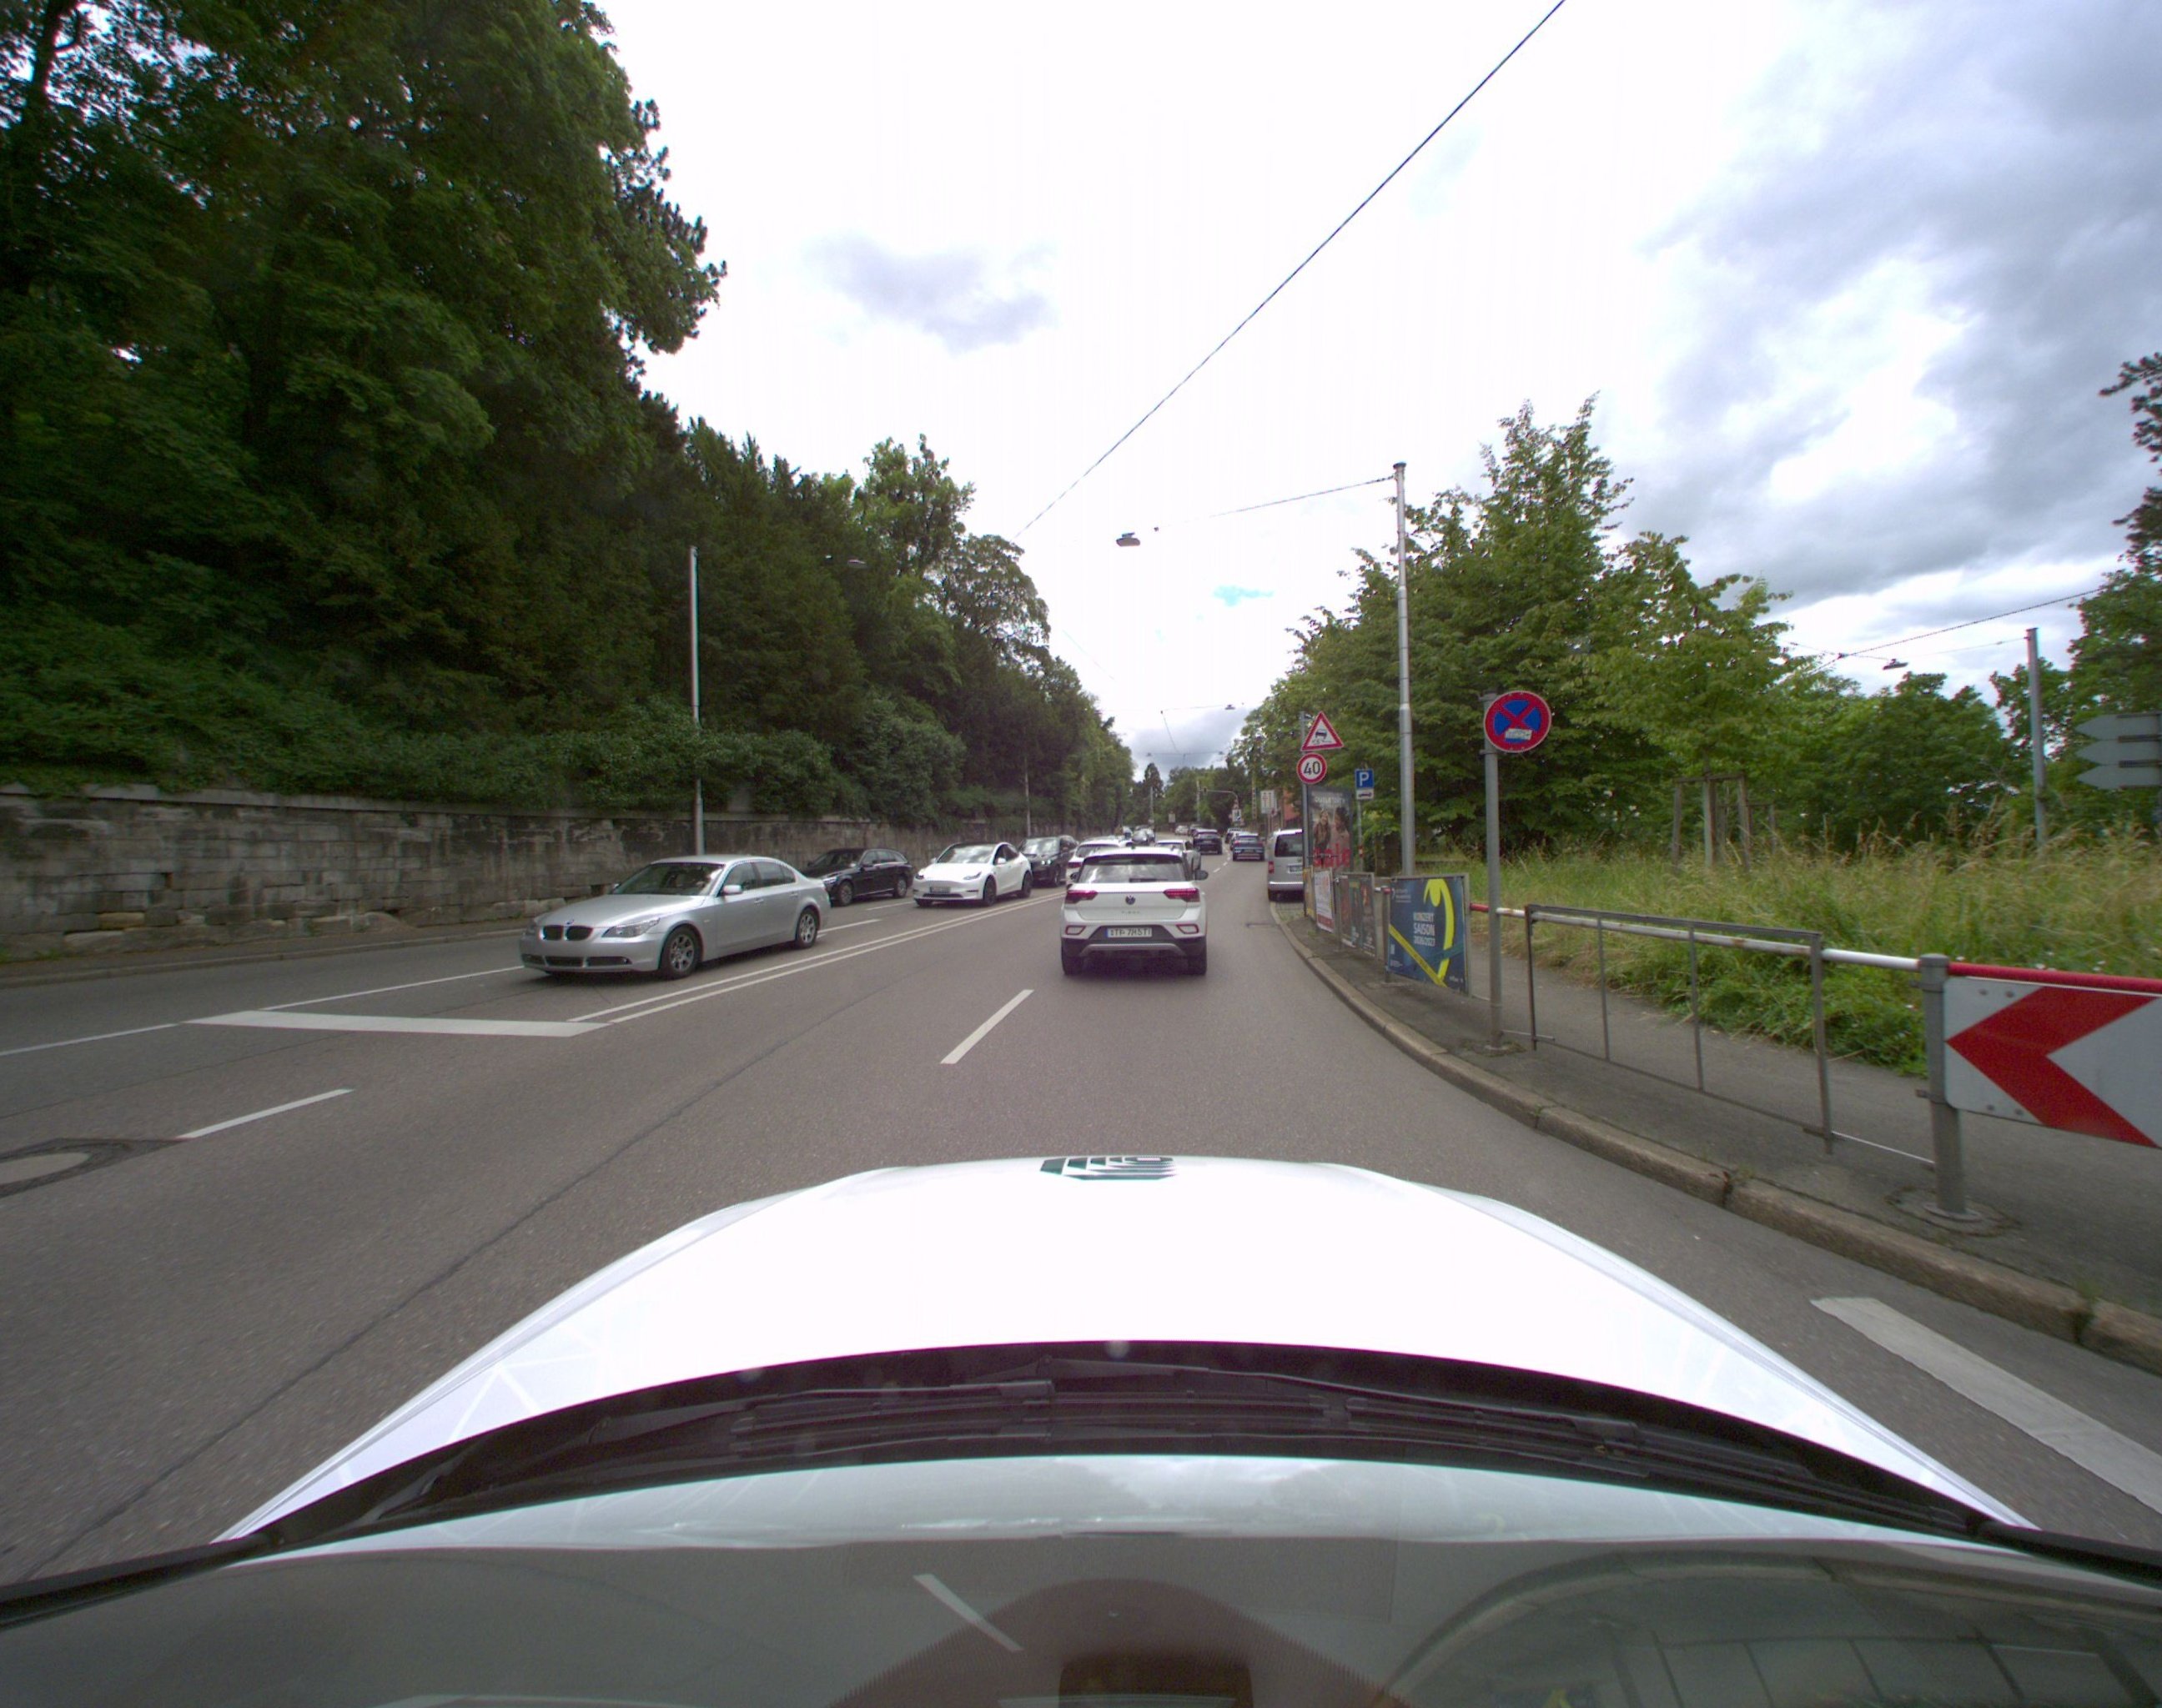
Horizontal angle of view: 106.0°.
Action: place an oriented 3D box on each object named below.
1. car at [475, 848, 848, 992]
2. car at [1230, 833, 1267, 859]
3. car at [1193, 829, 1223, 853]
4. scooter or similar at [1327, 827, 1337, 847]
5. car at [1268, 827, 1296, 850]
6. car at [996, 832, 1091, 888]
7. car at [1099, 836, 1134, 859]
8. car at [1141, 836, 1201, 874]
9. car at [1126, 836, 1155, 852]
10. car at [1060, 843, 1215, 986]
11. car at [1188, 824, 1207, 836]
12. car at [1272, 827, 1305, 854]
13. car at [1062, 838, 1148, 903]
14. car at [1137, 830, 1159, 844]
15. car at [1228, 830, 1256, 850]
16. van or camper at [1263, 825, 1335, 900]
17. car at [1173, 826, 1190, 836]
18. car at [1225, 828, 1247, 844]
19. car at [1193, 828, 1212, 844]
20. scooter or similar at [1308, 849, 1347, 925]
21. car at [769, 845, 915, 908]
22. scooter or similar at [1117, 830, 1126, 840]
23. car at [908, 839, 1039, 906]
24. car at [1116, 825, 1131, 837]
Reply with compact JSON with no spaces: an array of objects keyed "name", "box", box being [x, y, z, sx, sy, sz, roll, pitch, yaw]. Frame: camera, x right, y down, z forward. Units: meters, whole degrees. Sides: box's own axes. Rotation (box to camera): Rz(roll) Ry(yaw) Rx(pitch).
[{"name":"car","box":[-5.371,0.724,11.414,1.981,1.469,4.893,-2,1,11]},{"name":"car","box":[9.659,-0.479,47.048,1.980,1.414,4.164,-1,1,11]},{"name":"car","box":[8.739,-0.901,55.756,1.981,1.556,4.163,0,2,10]},{"name":"scooter or similar","box":[16.902,-1.156,54.883,0.513,1.260,1.173,-4,1,14]},{"name":"car","box":[14.309,-1.119,58.122,1.665,1.461,4.379,-3,2,11]},{"name":"car","box":[-1.214,0.146,29.124,1.945,1.749,4.898,-2,1,15]},{"name":"car","box":[2.562,-0.508,58.305,1.948,1.547,3.760,-2,1,10]},{"name":"car","box":[3.915,0.003,34.816,1.979,1.489,4.167,-1,1,14]},{"name":"car","box":[5.705,-0.934,77.521,1.988,1.409,4.773,-1,1,14]},{"name":"car","box":[0.804,0.663,11.134,1.749,1.555,3.801,1,1,5]},{"name":"car","box":[16.244,-3.354,113.729,1.987,1.575,4.150,-1,1,0]},{"name":"car","box":[13.377,-0.911,52.691,1.704,1.471,4.050,-5,2,10]},{"name":"car","box":[0.760,0.387,22.620,1.746,1.609,3.808,1,1,12]},{"name":"car","box":[7.425,-1.874,90.009,1.830,1.436,4.013,-2,2,11]},{"name":"car","box":[12.302,-1.099,62.258,1.981,1.450,4.163,-1,1,10]},{"name":"van or camper","box":[5.988,0.174,22.216,1.685,1.845,4.261,-1,1,17]},{"name":"car","box":[15.656,-3.607,126.507,1.988,1.450,4.148,-1,1,-2]},{"name":"car","box":[15.097,-1.761,79.393,1.981,1.450,4.163,-1,1,10]},{"name":"car","box":[11.853,-1.745,79.292,1.770,1.454,4.011,0,1,10]},{"name":"scooter or similar","box":[4.498,0.574,14.904,0.513,1.289,1.492,-3,0,13]},{"name":"car","box":[-6.319,0.528,22.025,1.719,1.452,4.070,0,2,19]},{"name":"scooter or similar","box":[5.047,-2.386,101.818,1.104,1.237,0.429,2,2,-41]},{"name":"car","box":[-2.730,0.417,21.956,1.824,1.554,4.808,-1,1,14]},{"name":"car","box":[6.576,-3.518,126.018,1.988,1.754,3.997,0,-1,-2]}]
